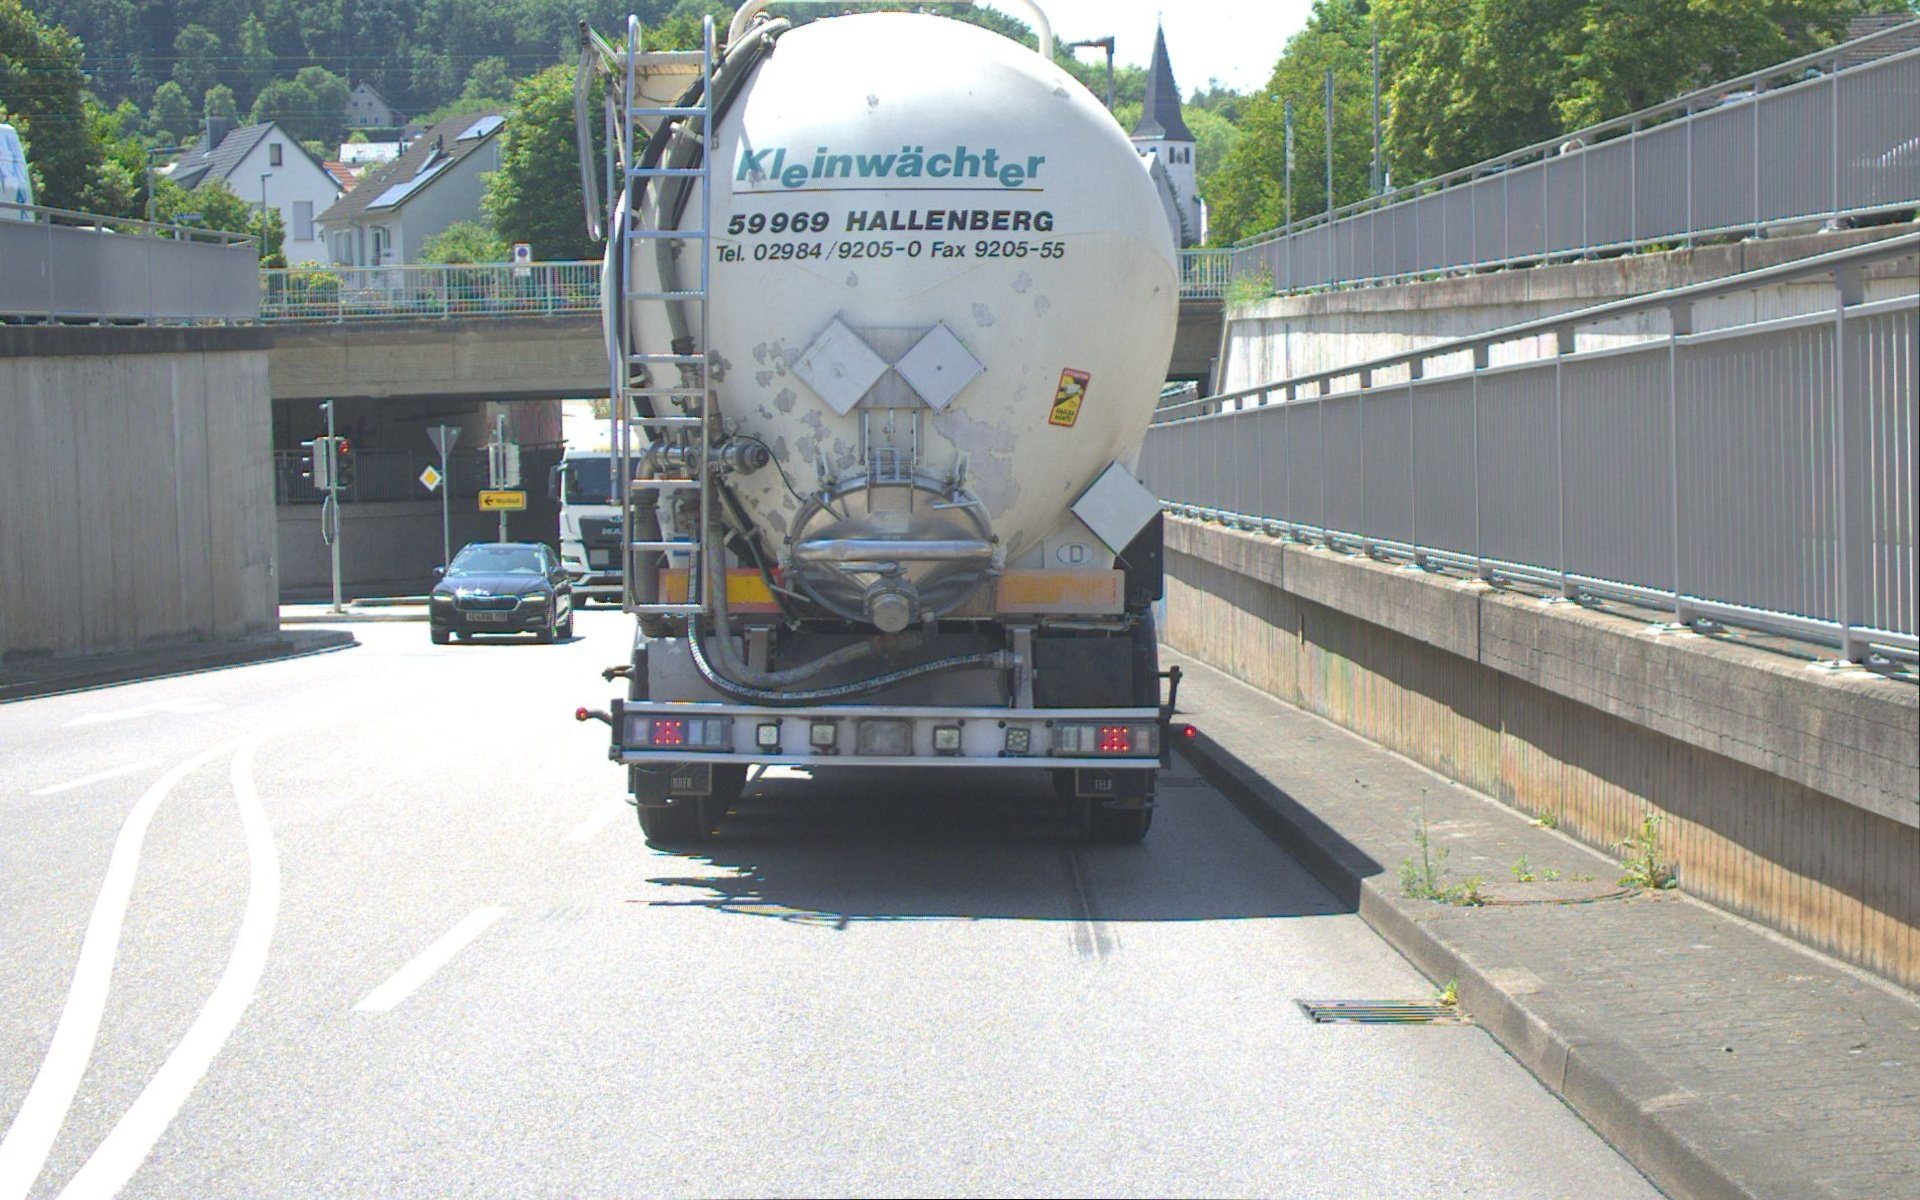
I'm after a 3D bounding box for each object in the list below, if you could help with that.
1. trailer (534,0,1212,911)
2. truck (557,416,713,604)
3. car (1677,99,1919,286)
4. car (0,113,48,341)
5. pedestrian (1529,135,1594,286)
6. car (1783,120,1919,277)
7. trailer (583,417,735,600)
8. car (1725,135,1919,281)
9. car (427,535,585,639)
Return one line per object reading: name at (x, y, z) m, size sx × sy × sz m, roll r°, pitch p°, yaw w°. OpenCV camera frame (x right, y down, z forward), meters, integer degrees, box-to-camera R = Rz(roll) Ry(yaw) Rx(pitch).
trailer at (-0.274, -0.910, 20.558) m, size 2.735 × 4.050 × 13.313 m, roll 0°, pitch 1°, yaw 1°
truck at (-6.868, -1.893, 73.447) m, size 2.662 × 3.847 × 6.580 m, roll 0°, pitch 1°, yaw 0°
car at (9.813, -4.361, 36.833) m, size 3.906 × 1.878 × 1.686 m, roll -1°, pitch 4°, yaw 1°
car at (-11.766, -4.112, 37.514) m, size 2.065 × 2.527 × 5.663 m, roll 1°, pitch 4°, yaw 1°
pedestrian at (7.281, -4.711, 41.626) m, size 0.673 × 1.773 × 0.594 m, roll -1°, pitch 4°, yaw 2°
car at (9.808, -3.743, 31.972) m, size 3.906 × 1.362 × 1.686 m, roll -1°, pitch 4°, yaw 1°
trailer at (-6.815, -2.046, 78.938) m, size 2.610 × 3.950 × 9.346 m, roll 0°, pitch 1°, yaw 0°
car at (9.790, -3.926, 34.409) m, size 3.906 × 1.362 × 1.686 m, roll -1°, pitch 4°, yaw 1°
car at (-6.728, -0.231, 51.331) m, size 1.760 × 1.484 × 4.369 m, roll 0°, pitch 1°, yaw 0°
